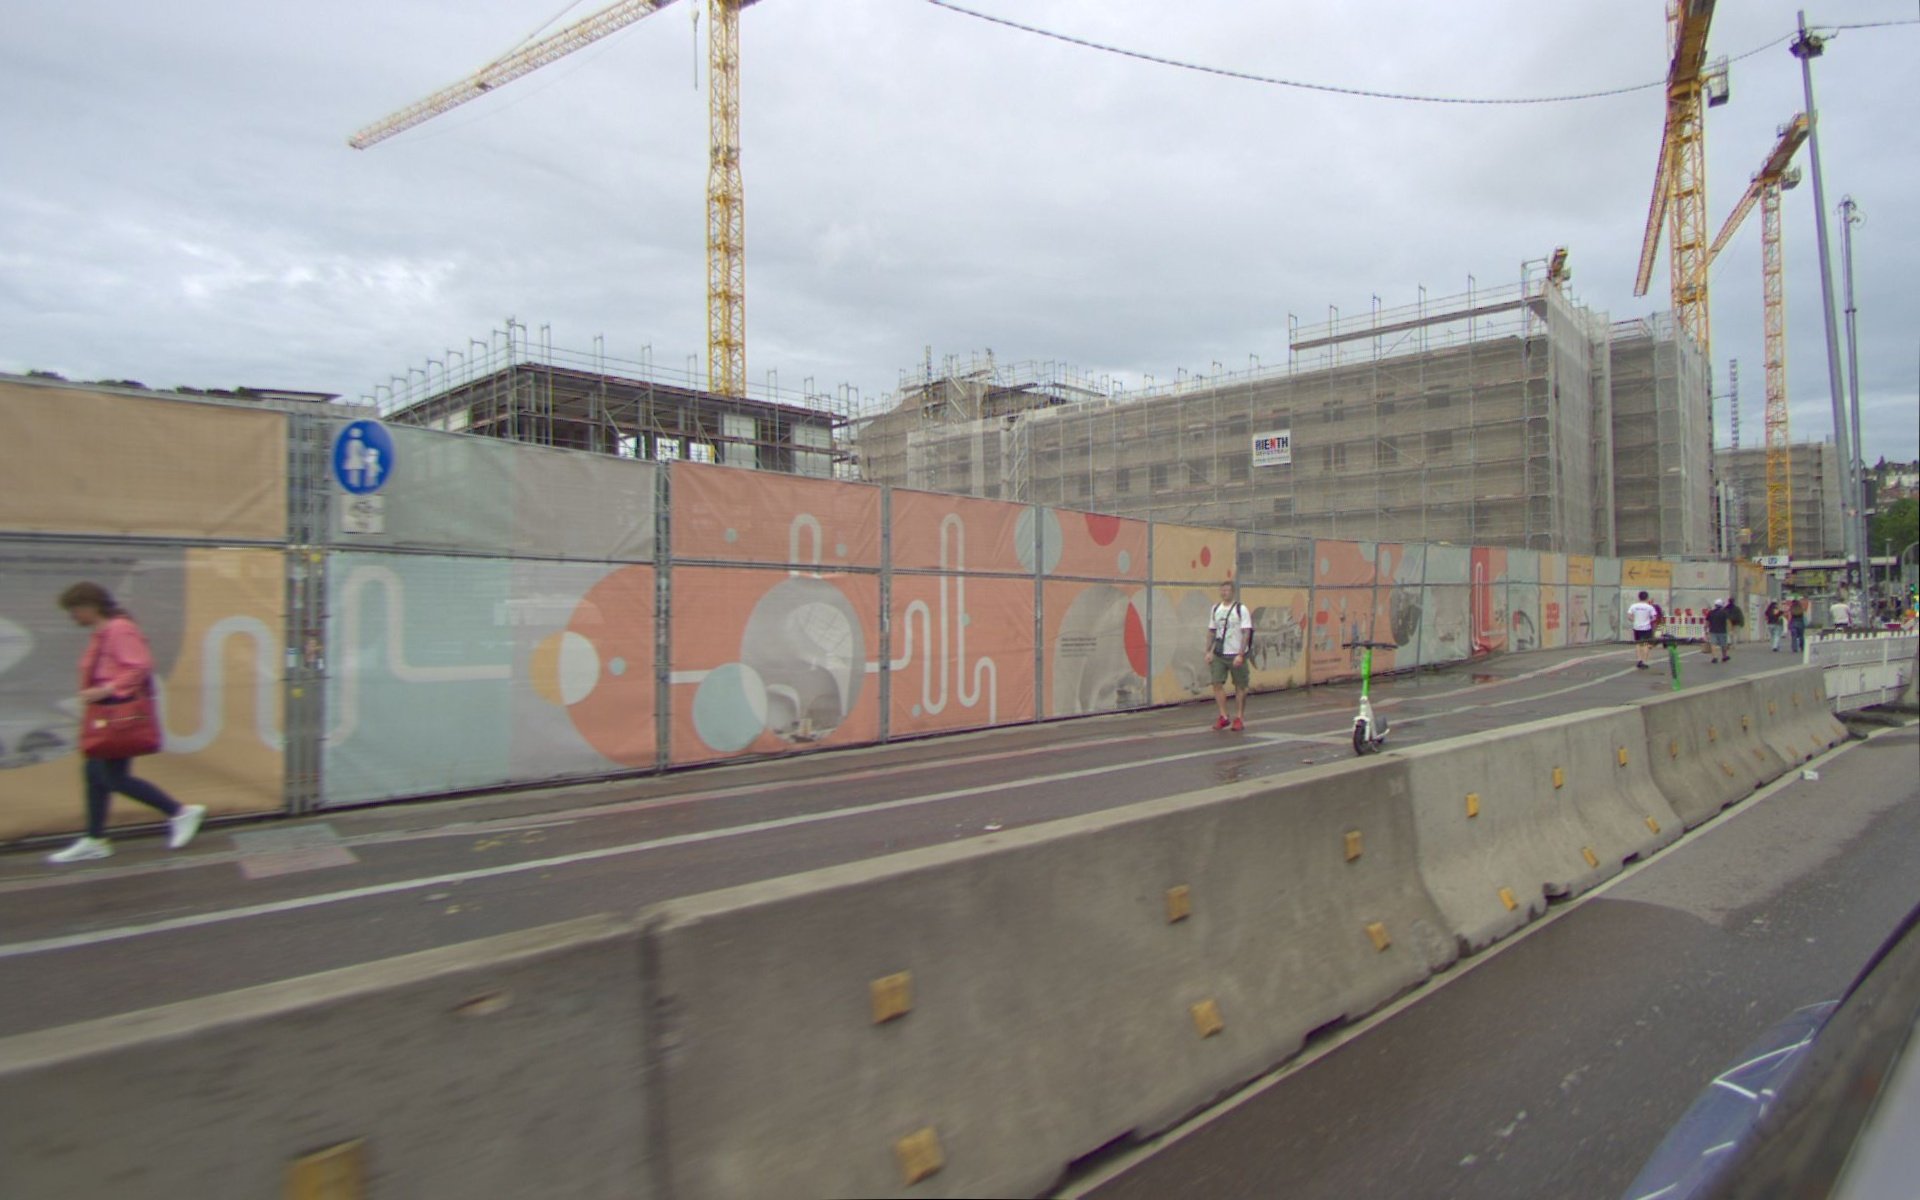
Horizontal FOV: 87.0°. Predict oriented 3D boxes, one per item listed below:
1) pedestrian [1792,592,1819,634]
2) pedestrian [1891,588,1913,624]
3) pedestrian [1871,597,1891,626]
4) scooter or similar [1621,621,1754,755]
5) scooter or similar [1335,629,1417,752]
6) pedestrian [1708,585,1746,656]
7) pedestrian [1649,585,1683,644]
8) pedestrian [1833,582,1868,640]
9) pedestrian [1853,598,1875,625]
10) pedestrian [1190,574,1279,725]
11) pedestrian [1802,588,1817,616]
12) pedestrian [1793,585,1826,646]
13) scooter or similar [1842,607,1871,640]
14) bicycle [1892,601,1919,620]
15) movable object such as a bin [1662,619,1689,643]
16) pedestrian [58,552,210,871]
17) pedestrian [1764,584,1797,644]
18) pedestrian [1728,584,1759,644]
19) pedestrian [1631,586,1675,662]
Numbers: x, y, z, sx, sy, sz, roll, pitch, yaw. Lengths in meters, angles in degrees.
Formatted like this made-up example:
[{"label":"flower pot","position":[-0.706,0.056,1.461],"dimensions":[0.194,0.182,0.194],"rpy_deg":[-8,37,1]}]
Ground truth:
[{"label":"pedestrian","position":[38.990,0.615,46.663],"dimensions":[0.650,1.919,0.849],"rpy_deg":[0,-1,-42]},{"label":"pedestrian","position":[54.530,0.344,58.591],"dimensions":[0.849,2.037,0.788],"rpy_deg":[0,-1,-37]},{"label":"pedestrian","position":[56.392,0.695,61.951],"dimensions":[0.866,1.778,0.814],"rpy_deg":[0,-1,-42]},{"label":"scooter or similar","position":[7.408,0.847,10.292],"dimensions":[1.543,1.230,0.676],"rpy_deg":[0,-1,-38]},{"label":"scooter or similar","position":[4.512,0.935,10.941],"dimensions":[0.466,1.198,1.396],"rpy_deg":[-1,-1,37]},{"label":"pedestrian","position":[19.464,0.503,25.680],"dimensions":[0.824,1.763,0.643],"rpy_deg":[0,-1,-44]},{"label":"pedestrian","position":[23.263,0.468,33.352],"dimensions":[0.642,1.919,0.768],"rpy_deg":[0,-1,-42]},{"label":"pedestrian","position":[32.069,0.386,36.461],"dimensions":[0.955,2.042,0.804],"rpy_deg":[0,-1,-41]},{"label":"pedestrian","position":[60.913,0.755,68.174],"dimensions":[0.699,1.747,0.745],"rpy_deg":[2,5,-25]},{"label":"pedestrian","position":[3.596,0.621,13.252],"dimensions":[0.973,1.890,0.704],"rpy_deg":[0,-1,-42]},{"label":"pedestrian","position":[61.477,0.124,73.229],"dimensions":[0.618,2.039,0.576],"rpy_deg":[-1,-1,11]},{"label":"pedestrian","position":[27.010,0.477,32.183],"dimensions":[0.681,1.913,0.684],"rpy_deg":[0,-1,-41]},{"label":"scooter or similar","position":[32.860,0.852,37.078],"dimensions":[1.026,1.214,0.665],"rpy_deg":[0,-1,-42]},{"label":"bicycle","position":[59.113,0.651,63.173],"dimensions":[1.951,1.147,0.757],"rpy_deg":[-1,2,-28]},{"label":"movable object such as a bin","position":[23.634,1.020,33.418],"dimensions":[0.597,0.743,0.765],"rpy_deg":[-1,0,45]},{"label":"pedestrian","position":[-5.319,0.662,6.520],"dimensions":[0.698,1.890,0.719],"rpy_deg":[0,-1,-44]},{"label":"pedestrian","position":[26.538,0.444,32.736],"dimensions":[0.681,1.913,0.684],"rpy_deg":[0,-1,-41]},{"label":"pedestrian","position":[25.415,0.444,32.830],"dimensions":[0.682,1.913,0.684],"rpy_deg":[0,-1,-45]},{"label":"pedestrian","position":[16.447,0.548,24.016],"dimensions":[0.892,1.763,0.684],"rpy_deg":[0,-1,-44]}]
